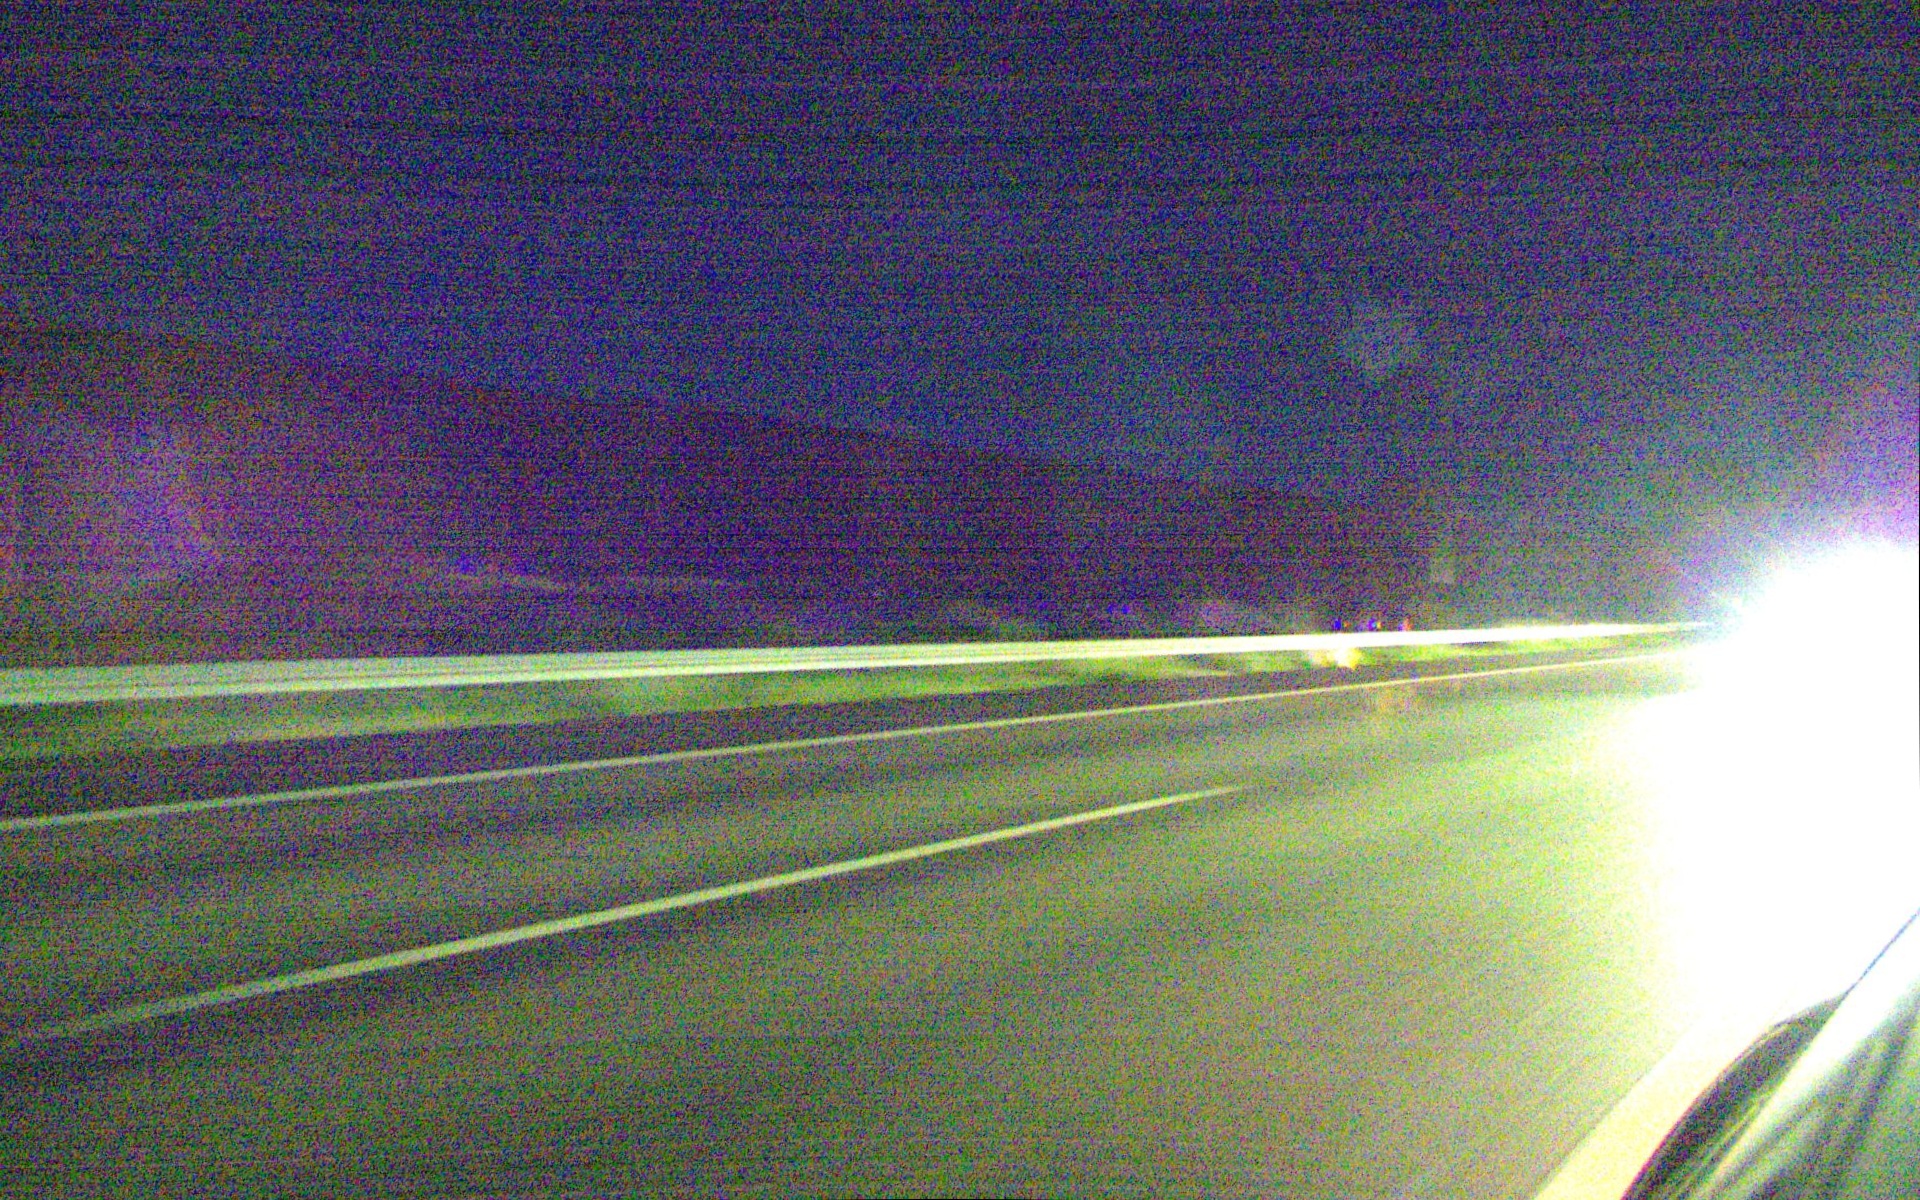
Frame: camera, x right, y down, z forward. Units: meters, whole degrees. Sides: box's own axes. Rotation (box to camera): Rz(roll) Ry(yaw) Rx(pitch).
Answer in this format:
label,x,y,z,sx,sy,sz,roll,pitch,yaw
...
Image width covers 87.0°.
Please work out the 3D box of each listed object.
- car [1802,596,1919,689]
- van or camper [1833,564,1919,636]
label,x,y,z,sx,sy,sz,roll,pitch,yaw
car,15.921,0.696,17.300,4.151,1.431,1.689,2,-1,-41
van or camper,38.876,0.006,42.811,6.690,2.807,2.209,0,-1,-43
